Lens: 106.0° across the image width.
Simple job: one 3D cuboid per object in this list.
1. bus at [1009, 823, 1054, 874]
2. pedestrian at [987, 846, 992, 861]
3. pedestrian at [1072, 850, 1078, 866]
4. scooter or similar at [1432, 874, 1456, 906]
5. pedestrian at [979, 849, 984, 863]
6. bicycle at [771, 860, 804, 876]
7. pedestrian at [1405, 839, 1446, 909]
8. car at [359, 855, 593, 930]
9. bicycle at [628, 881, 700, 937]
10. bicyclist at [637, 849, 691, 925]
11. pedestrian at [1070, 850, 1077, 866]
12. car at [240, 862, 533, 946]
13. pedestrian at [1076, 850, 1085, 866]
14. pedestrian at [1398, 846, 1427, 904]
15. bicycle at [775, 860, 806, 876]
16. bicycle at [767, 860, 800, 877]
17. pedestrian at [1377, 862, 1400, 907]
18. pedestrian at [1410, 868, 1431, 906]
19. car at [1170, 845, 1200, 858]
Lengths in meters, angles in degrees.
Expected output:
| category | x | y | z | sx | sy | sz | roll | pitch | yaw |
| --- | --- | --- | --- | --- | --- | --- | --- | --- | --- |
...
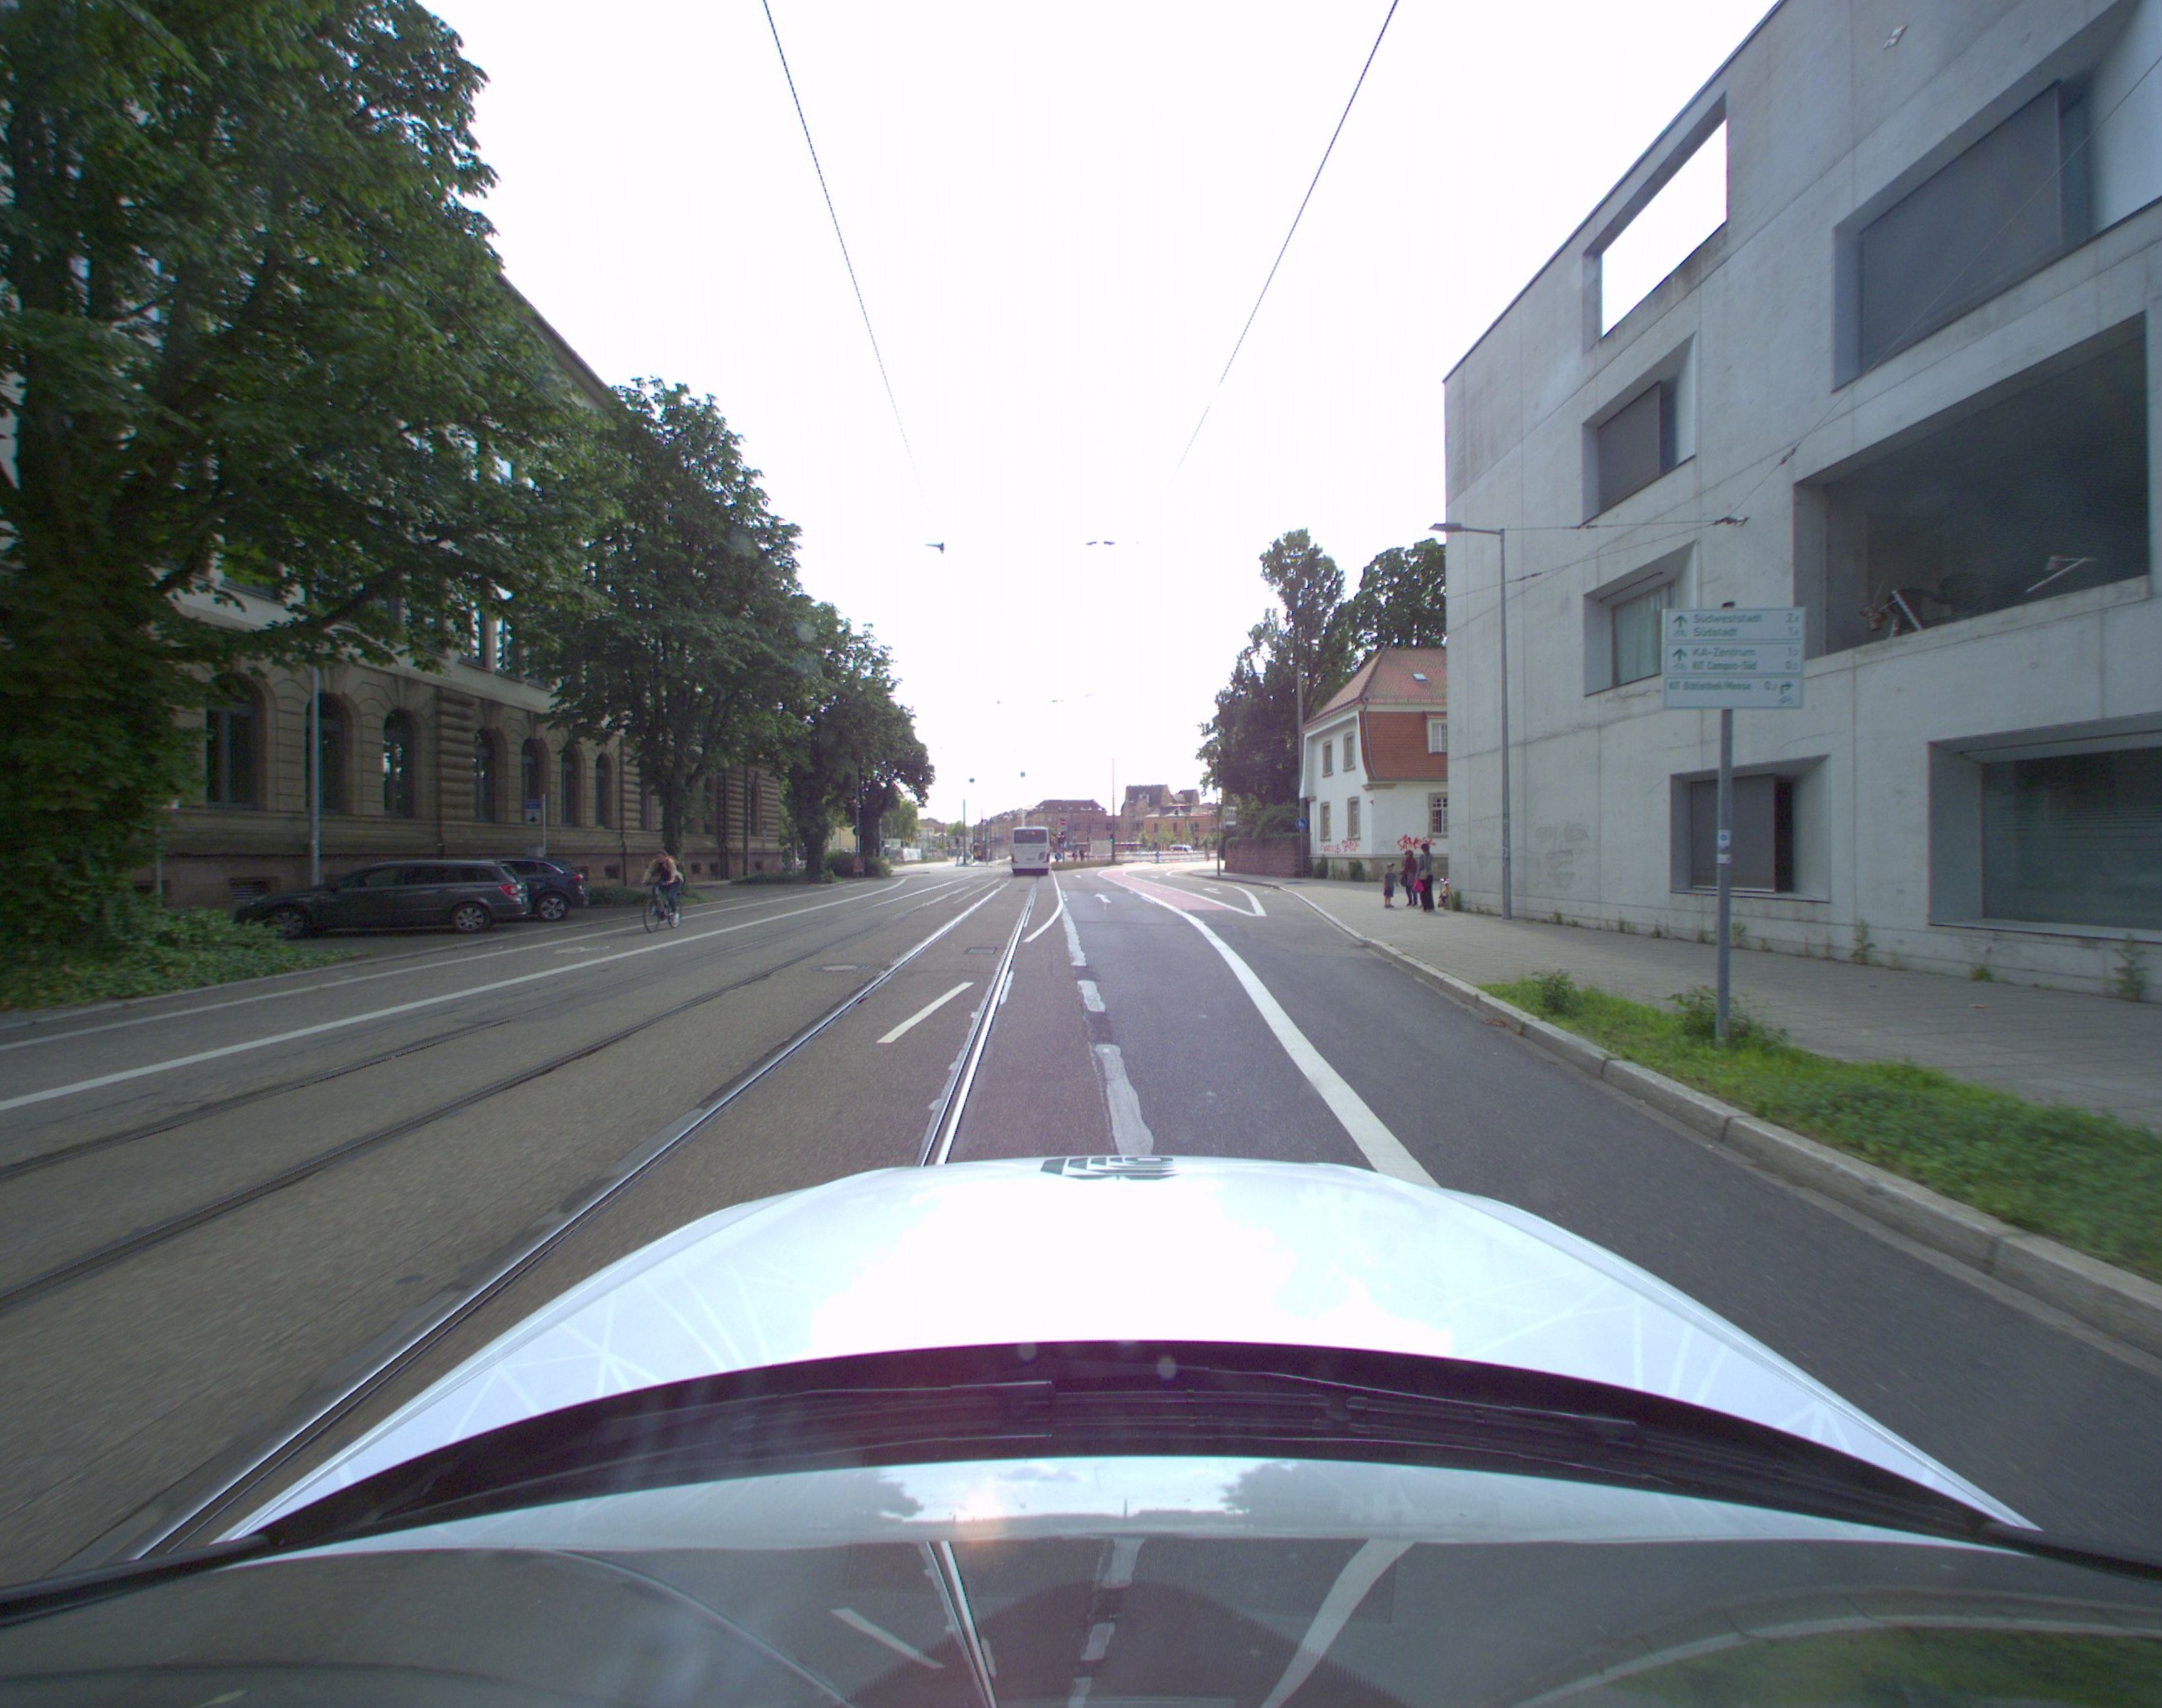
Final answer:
| category | x | y | z | sx | sy | sz | roll | pitch | yaw |
| --- | --- | --- | --- | --- | --- | --- | --- | --- | --- |
| bus | -3.607 | -0.352 | 59.495 | 2.911 | 3.328 | 12.191 | 1 | 0 | -3 |
| pedestrian | -11.685 | -0.033 | 104.124 | 0.609 | 1.885 | 0.793 | -1 | 0 | -2 |
| pedestrian | -0.661 | 0.447 | 92.709 | 0.405 | 1.736 | 0.625 | -1 | 0 | 24 |
| scooter or similar | 9.721 | 0.955 | 21.825 | 0.551 | 0.800 | 0.265 | -4 | 2 | -26 |
| pedestrian | -13.245 | 0.284 | 108.779 | 0.609 | 1.885 | 0.793 | -1 | 0 | -2 |
| bicycle | -21.879 | 1.064 | 60.725 | 2.110 | 1.168 | 0.729 | 1 | -1 | -5 |
| pedestrian | 8.827 | 0.499 | 20.905 | 0.683 | 1.724 | 0.746 | -2 | 1 | -3 |
| car | -14.073 | 0.835 | 19.263 | 4.258 | 1.550 | 1.907 | 1 | 0 | -34 |
| bicycle | -8.667 | 1.110 | 16.991 | 0.698 | 1.017 | 1.816 | -2 | 0 | -6 |
| bicyclist | -8.675 | 0.657 | 16.965 | 0.690 | 1.519 | 0.866 | -2 | 0 | -6 |
| pedestrian | -0.846 | 0.447 | 91.837 | 0.608 | 1.706 | 0.623 | -1 | 0 | 5 |
| car | -13.805 | 0.925 | 16.568 | 4.254 | 1.447 | 1.776 | -1 | 0 | -30 |
| pedestrian | -0.047 | 0.472 | 93.337 | 0.798 | 1.885 | 0.606 | 0 | 0 | -40 |
| pedestrian | 9.222 | 0.578 | 22.673 | 0.520 | 1.580 | 0.546 | -2 | 1 | -12 |
| bicycle | -21.979 | 1.067 | 61.616 | 2.110 | 1.168 | 0.729 | 1 | -1 | -5 |
| bicycle | -21.755 | 1.060 | 59.533 | 2.110 | 1.168 | 0.729 | 1 | -1 | -5 |
| pedestrian | 8.597 | 0.848 | 22.783 | 0.424 | 1.200 | 0.402 | -3 | 2 | -34 |
| pedestrian | 9.181 | 0.889 | 22.013 | 0.342 | 1.010 | 0.395 | -2 | 1 | -11 |
| car | 19.697 | -0.441 | 154.143 | 2.313 | 2.319 | 5.524 | 0 | 0 | -39 |
